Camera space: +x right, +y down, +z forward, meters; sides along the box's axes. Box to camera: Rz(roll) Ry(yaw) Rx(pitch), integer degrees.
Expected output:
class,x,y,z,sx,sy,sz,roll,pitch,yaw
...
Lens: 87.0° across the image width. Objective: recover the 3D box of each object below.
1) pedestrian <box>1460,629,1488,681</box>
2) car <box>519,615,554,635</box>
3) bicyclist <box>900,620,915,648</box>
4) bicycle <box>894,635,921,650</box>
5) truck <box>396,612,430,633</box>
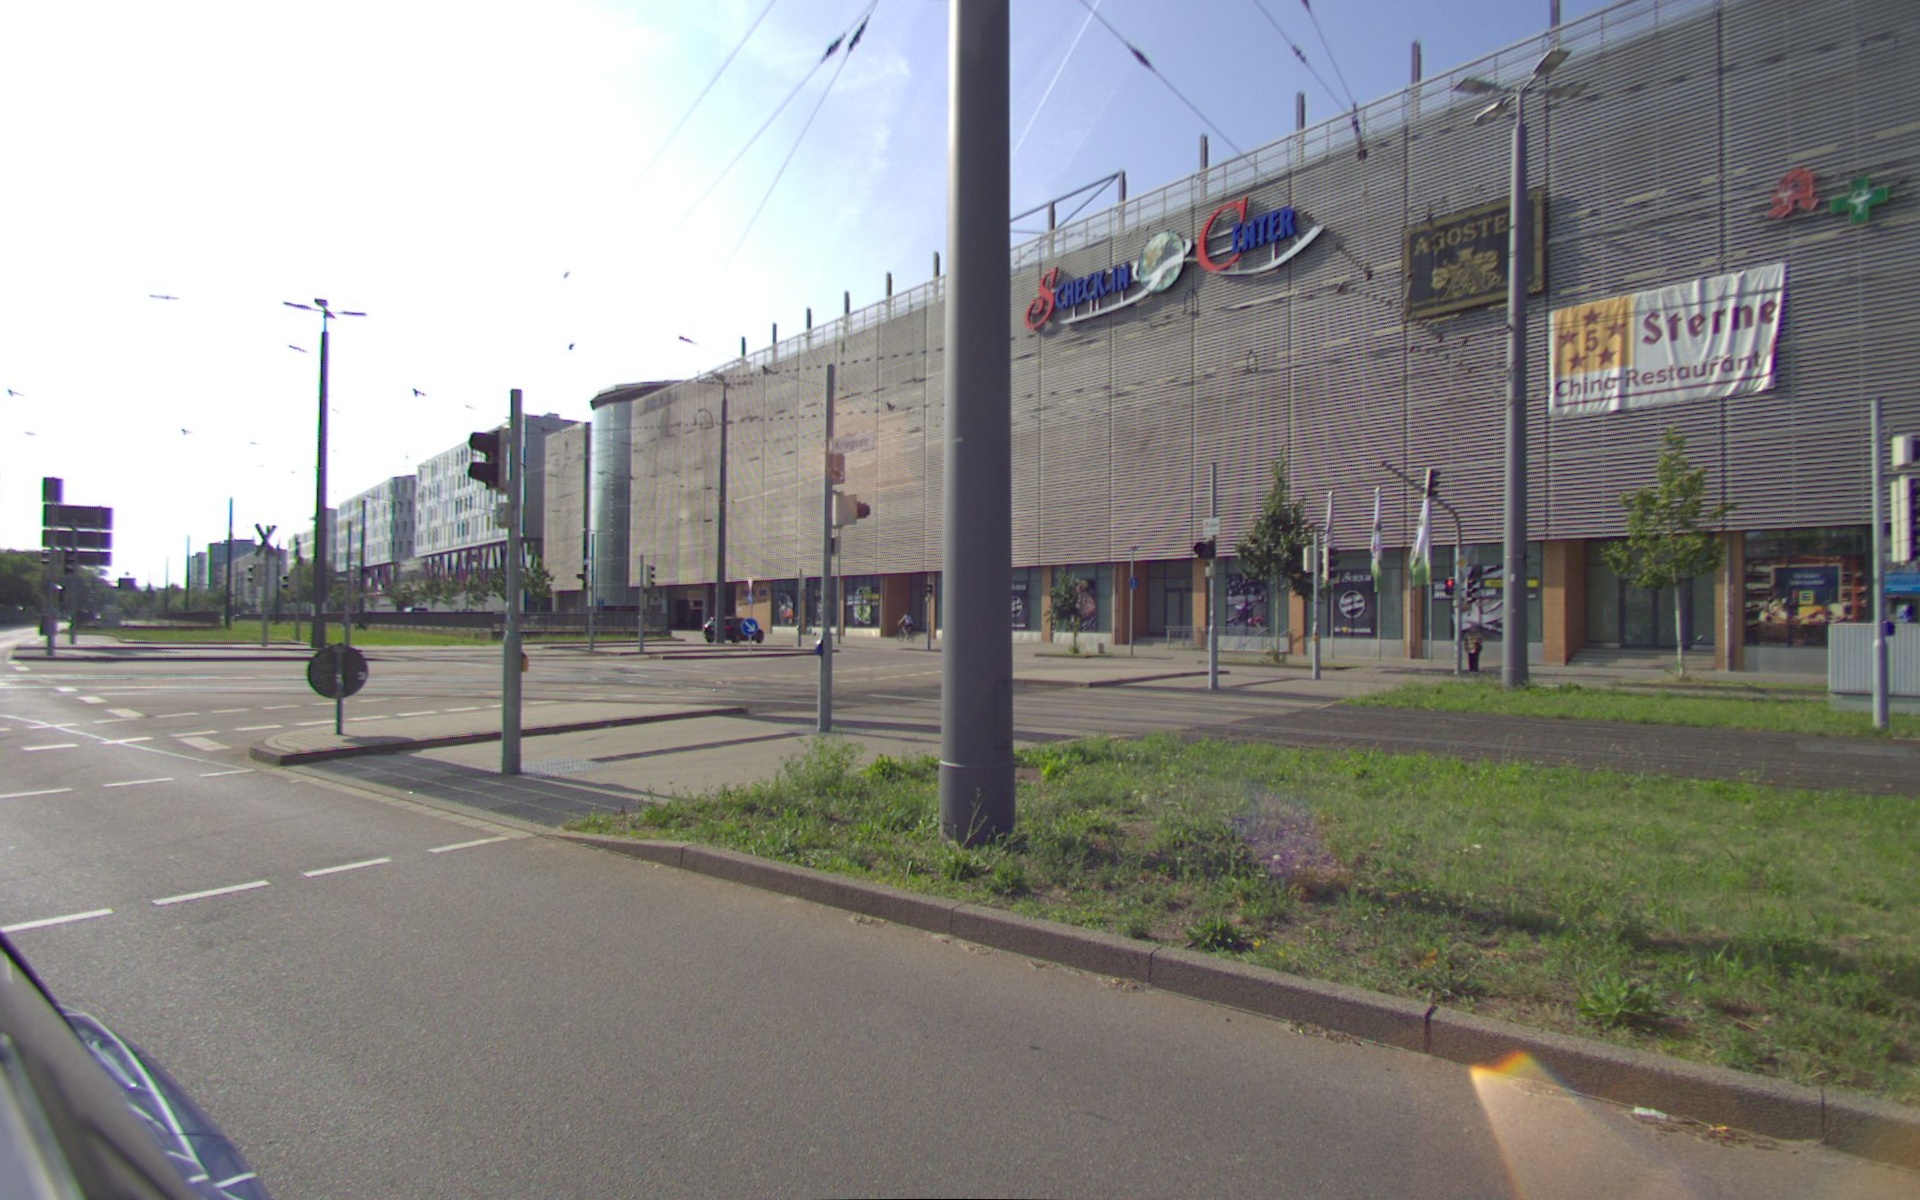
class,x,y,z,sx,sy,sz,roll,pitch,yaw
pedestrian,16.198,1.718,31.912,0.590,1.591,0.752,-1,-2,45
car,-36.578,2.159,87.351,1.716,1.571,3.407,2,-1,-42
bicyclist,-3.121,2.018,60.251,0.560,1.642,0.715,2,-1,-43
bicycle,-3.131,2.525,60.259,0.573,0.785,1.872,2,-1,-40
truck,-63.130,2.625,116.733,4.553,2.339,2.175,-1,-2,44
